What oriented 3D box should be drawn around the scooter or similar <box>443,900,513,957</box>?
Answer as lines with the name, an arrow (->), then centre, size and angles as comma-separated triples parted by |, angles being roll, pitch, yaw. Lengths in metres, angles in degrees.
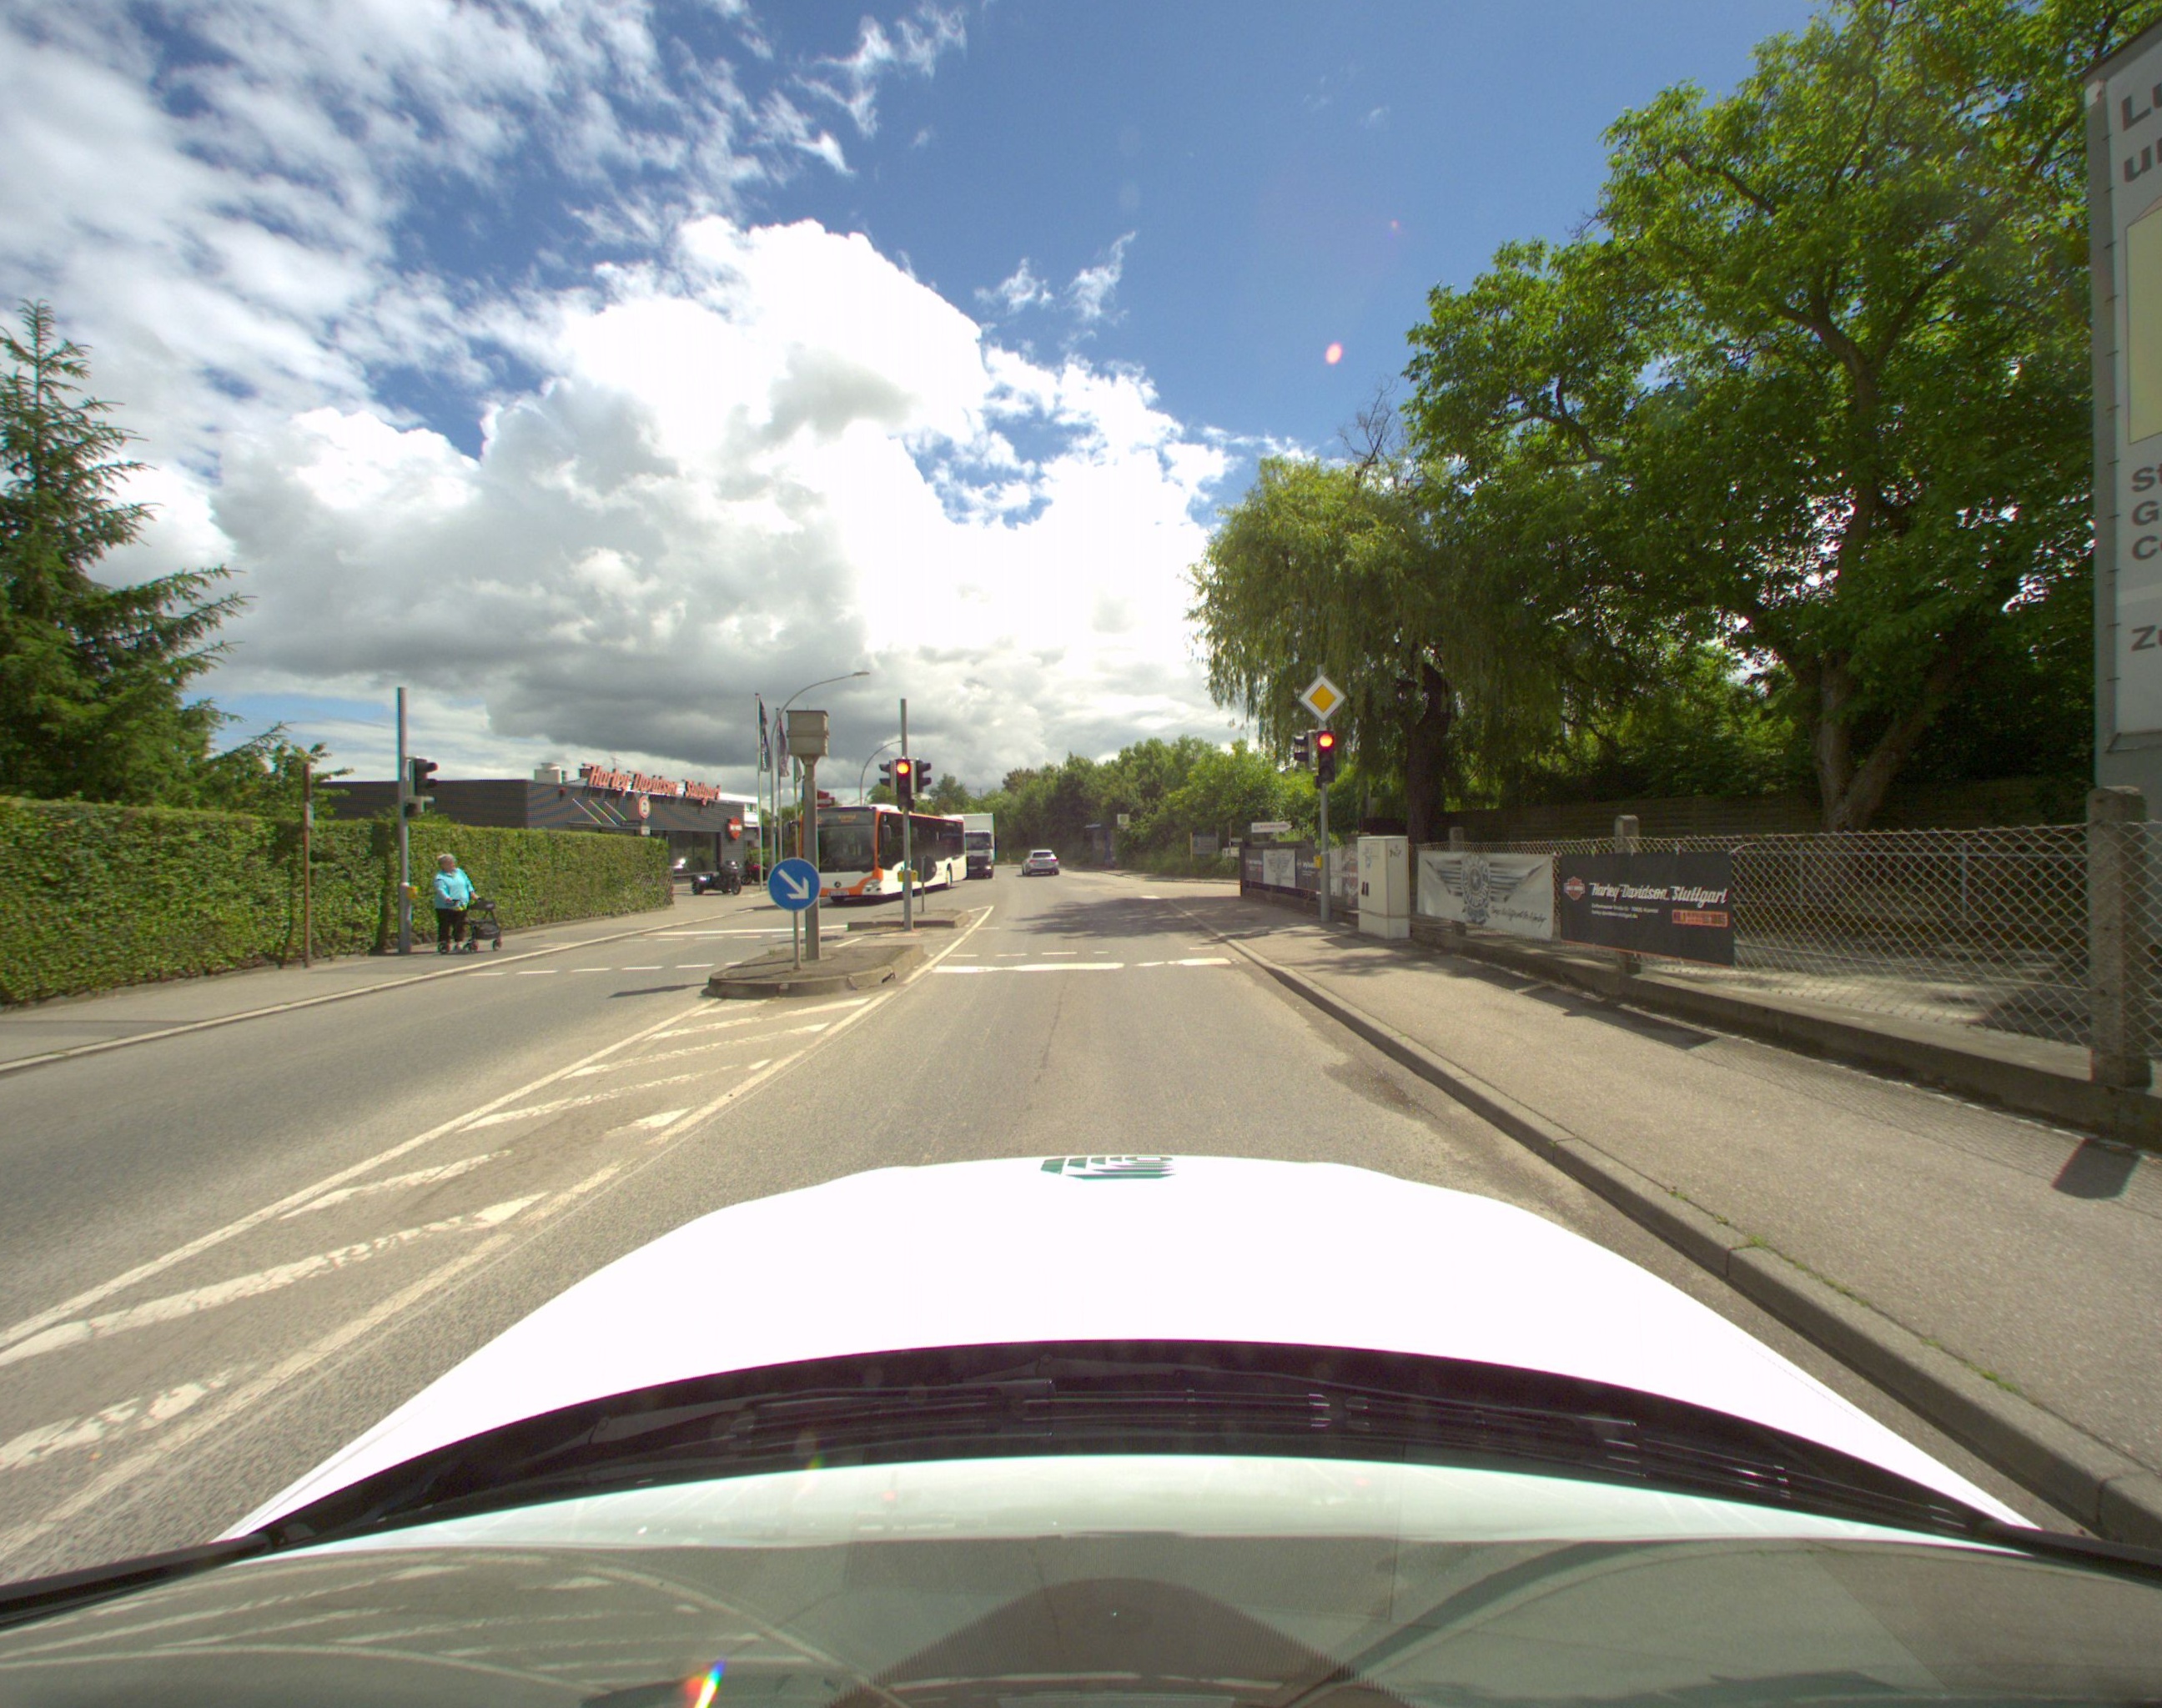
scooter or similar -> -9.712, 1.194, 13.136 | 0.609, 0.831, 0.659 | -2, 0, 0

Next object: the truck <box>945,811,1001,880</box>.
truck -> -6.317, -0.469, 47.505 | 2.838, 3.540, 9.697 | -2, 0, -8

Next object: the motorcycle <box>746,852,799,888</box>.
motorcycle -> -15.013, 0.767, 39.660 | 2.282, 1.683, 1.047 | -1, -1, 22

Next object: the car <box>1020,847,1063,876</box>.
car -> -2.281, 0.404, 45.984 | 1.885, 1.508, 3.986 | -2, 0, -10

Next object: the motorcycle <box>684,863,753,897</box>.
motorcycle -> -13.807, 0.978, 31.014 | 2.478, 1.218, 0.931 | -1, -1, 22

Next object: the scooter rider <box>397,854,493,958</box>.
scooter rider -> -10.237, 0.816, 13.147 | 0.875, 1.589, 0.796 | -1, 0, 0

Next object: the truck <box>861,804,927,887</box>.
truck -> -10.220, -0.400, 45.428 | 2.426, 4.131, 9.131 | 1, 0, -6

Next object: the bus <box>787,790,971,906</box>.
bus -> -6.669, -0.175, 29.590 | 2.765, 3.266, 12.136 | -2, 0, 4
